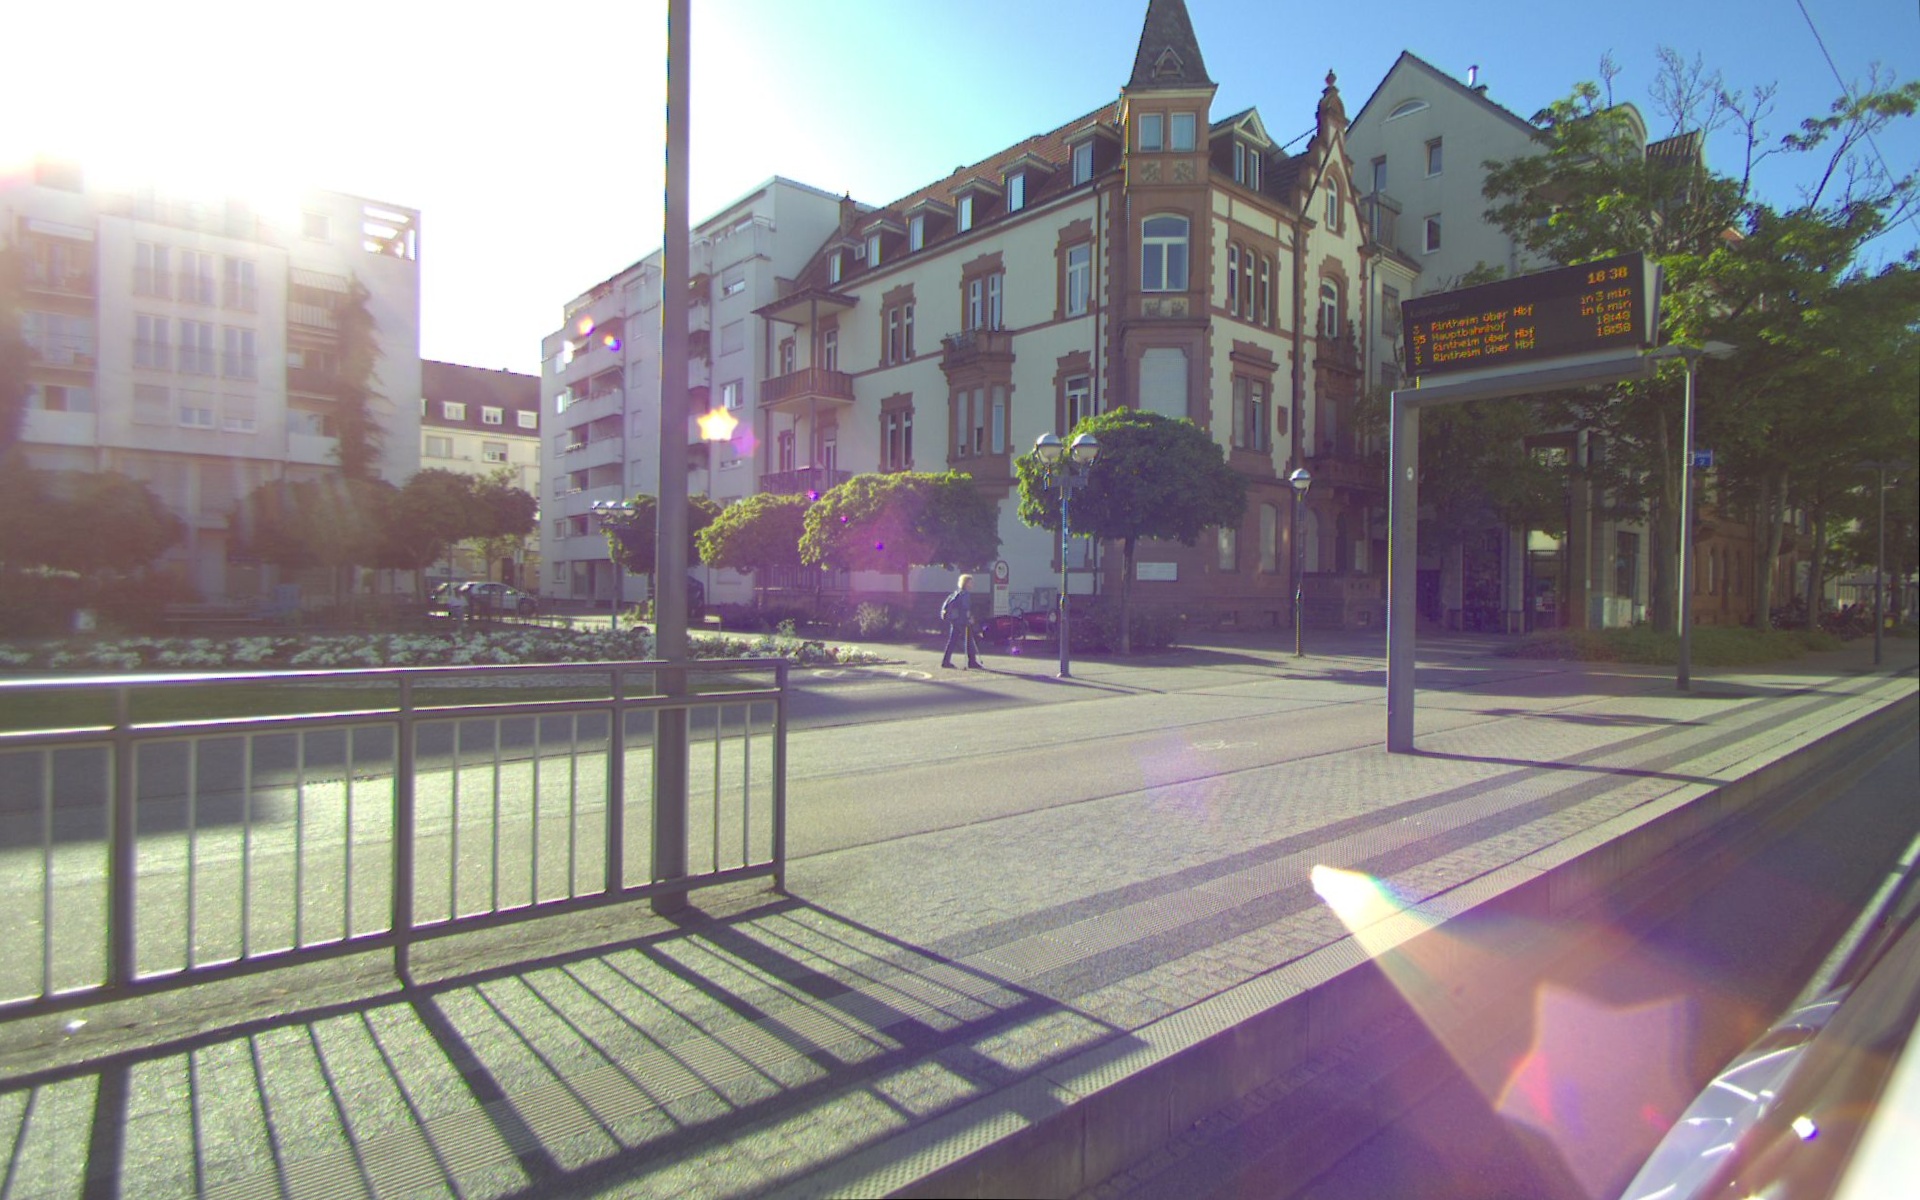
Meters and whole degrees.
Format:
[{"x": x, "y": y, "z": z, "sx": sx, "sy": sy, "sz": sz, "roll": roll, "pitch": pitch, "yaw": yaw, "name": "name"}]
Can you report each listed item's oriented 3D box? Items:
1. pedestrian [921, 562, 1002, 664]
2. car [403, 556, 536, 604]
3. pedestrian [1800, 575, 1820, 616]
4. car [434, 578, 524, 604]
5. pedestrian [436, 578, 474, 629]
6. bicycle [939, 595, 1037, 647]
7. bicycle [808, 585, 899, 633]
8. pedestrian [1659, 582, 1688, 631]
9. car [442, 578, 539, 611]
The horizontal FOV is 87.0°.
[{"x": 0.028, "y": 0.207, "z": 17.477, "sx": 1.064, "sy": 1.689, "sz": 0.944, "roll": 1, "pitch": 0, "yaw": 37, "name": "pedestrian"}, {"x": -27.894, "y": -1.085, "z": 57.669, "sx": 6.292, "sy": 2.587, "sz": 2.807, "roll": 0, "pitch": 1, "yaw": -45, "name": "car"}, {"x": 42.605, "y": -0.230, "z": 50.727, "sx": 0.549, "sy": 2.039, "sz": 0.654, "roll": 0, "pitch": 0, "yaw": -38, "name": "pedestrian"}, {"x": -24.862, "y": -0.456, "z": 52.329, "sx": 3.923, "sy": 1.304, "sz": 2.001, "roll": 0, "pitch": 1, "yaw": -34, "name": "car"}, {"x": -14.678, "y": 0.084, "z": 29.394, "sx": 0.917, "sy": 1.429, "sz": 1.529, "roll": 0, "pitch": 1, "yaw": -30, "name": "pedestrian"}, {"x": 0.712, "y": 0.465, "z": 24.165, "sx": 0.786, "sy": 1.081, "sz": 2.767, "roll": 1, "pitch": 2, "yaw": 40, "name": "bicycle"}, {"x": -3.220, "y": 0.263, "z": 30.914, "sx": 2.864, "sy": 1.389, "sz": 0.745, "roll": 0, "pitch": 1, "yaw": -41, "name": "bicycle"}, {"x": 25.728, "y": 0.224, "z": 36.470, "sx": 0.740, "sy": 1.757, "sz": 0.864, "roll": 1, "pitch": 0, "yaw": 43, "name": "pedestrian"}, {"x": -22.305, "y": -0.274, "z": 48.144, "sx": 3.923, "sy": 1.536, "sz": 2.001, "roll": 0, "pitch": 1, "yaw": -34, "name": "car"}]
